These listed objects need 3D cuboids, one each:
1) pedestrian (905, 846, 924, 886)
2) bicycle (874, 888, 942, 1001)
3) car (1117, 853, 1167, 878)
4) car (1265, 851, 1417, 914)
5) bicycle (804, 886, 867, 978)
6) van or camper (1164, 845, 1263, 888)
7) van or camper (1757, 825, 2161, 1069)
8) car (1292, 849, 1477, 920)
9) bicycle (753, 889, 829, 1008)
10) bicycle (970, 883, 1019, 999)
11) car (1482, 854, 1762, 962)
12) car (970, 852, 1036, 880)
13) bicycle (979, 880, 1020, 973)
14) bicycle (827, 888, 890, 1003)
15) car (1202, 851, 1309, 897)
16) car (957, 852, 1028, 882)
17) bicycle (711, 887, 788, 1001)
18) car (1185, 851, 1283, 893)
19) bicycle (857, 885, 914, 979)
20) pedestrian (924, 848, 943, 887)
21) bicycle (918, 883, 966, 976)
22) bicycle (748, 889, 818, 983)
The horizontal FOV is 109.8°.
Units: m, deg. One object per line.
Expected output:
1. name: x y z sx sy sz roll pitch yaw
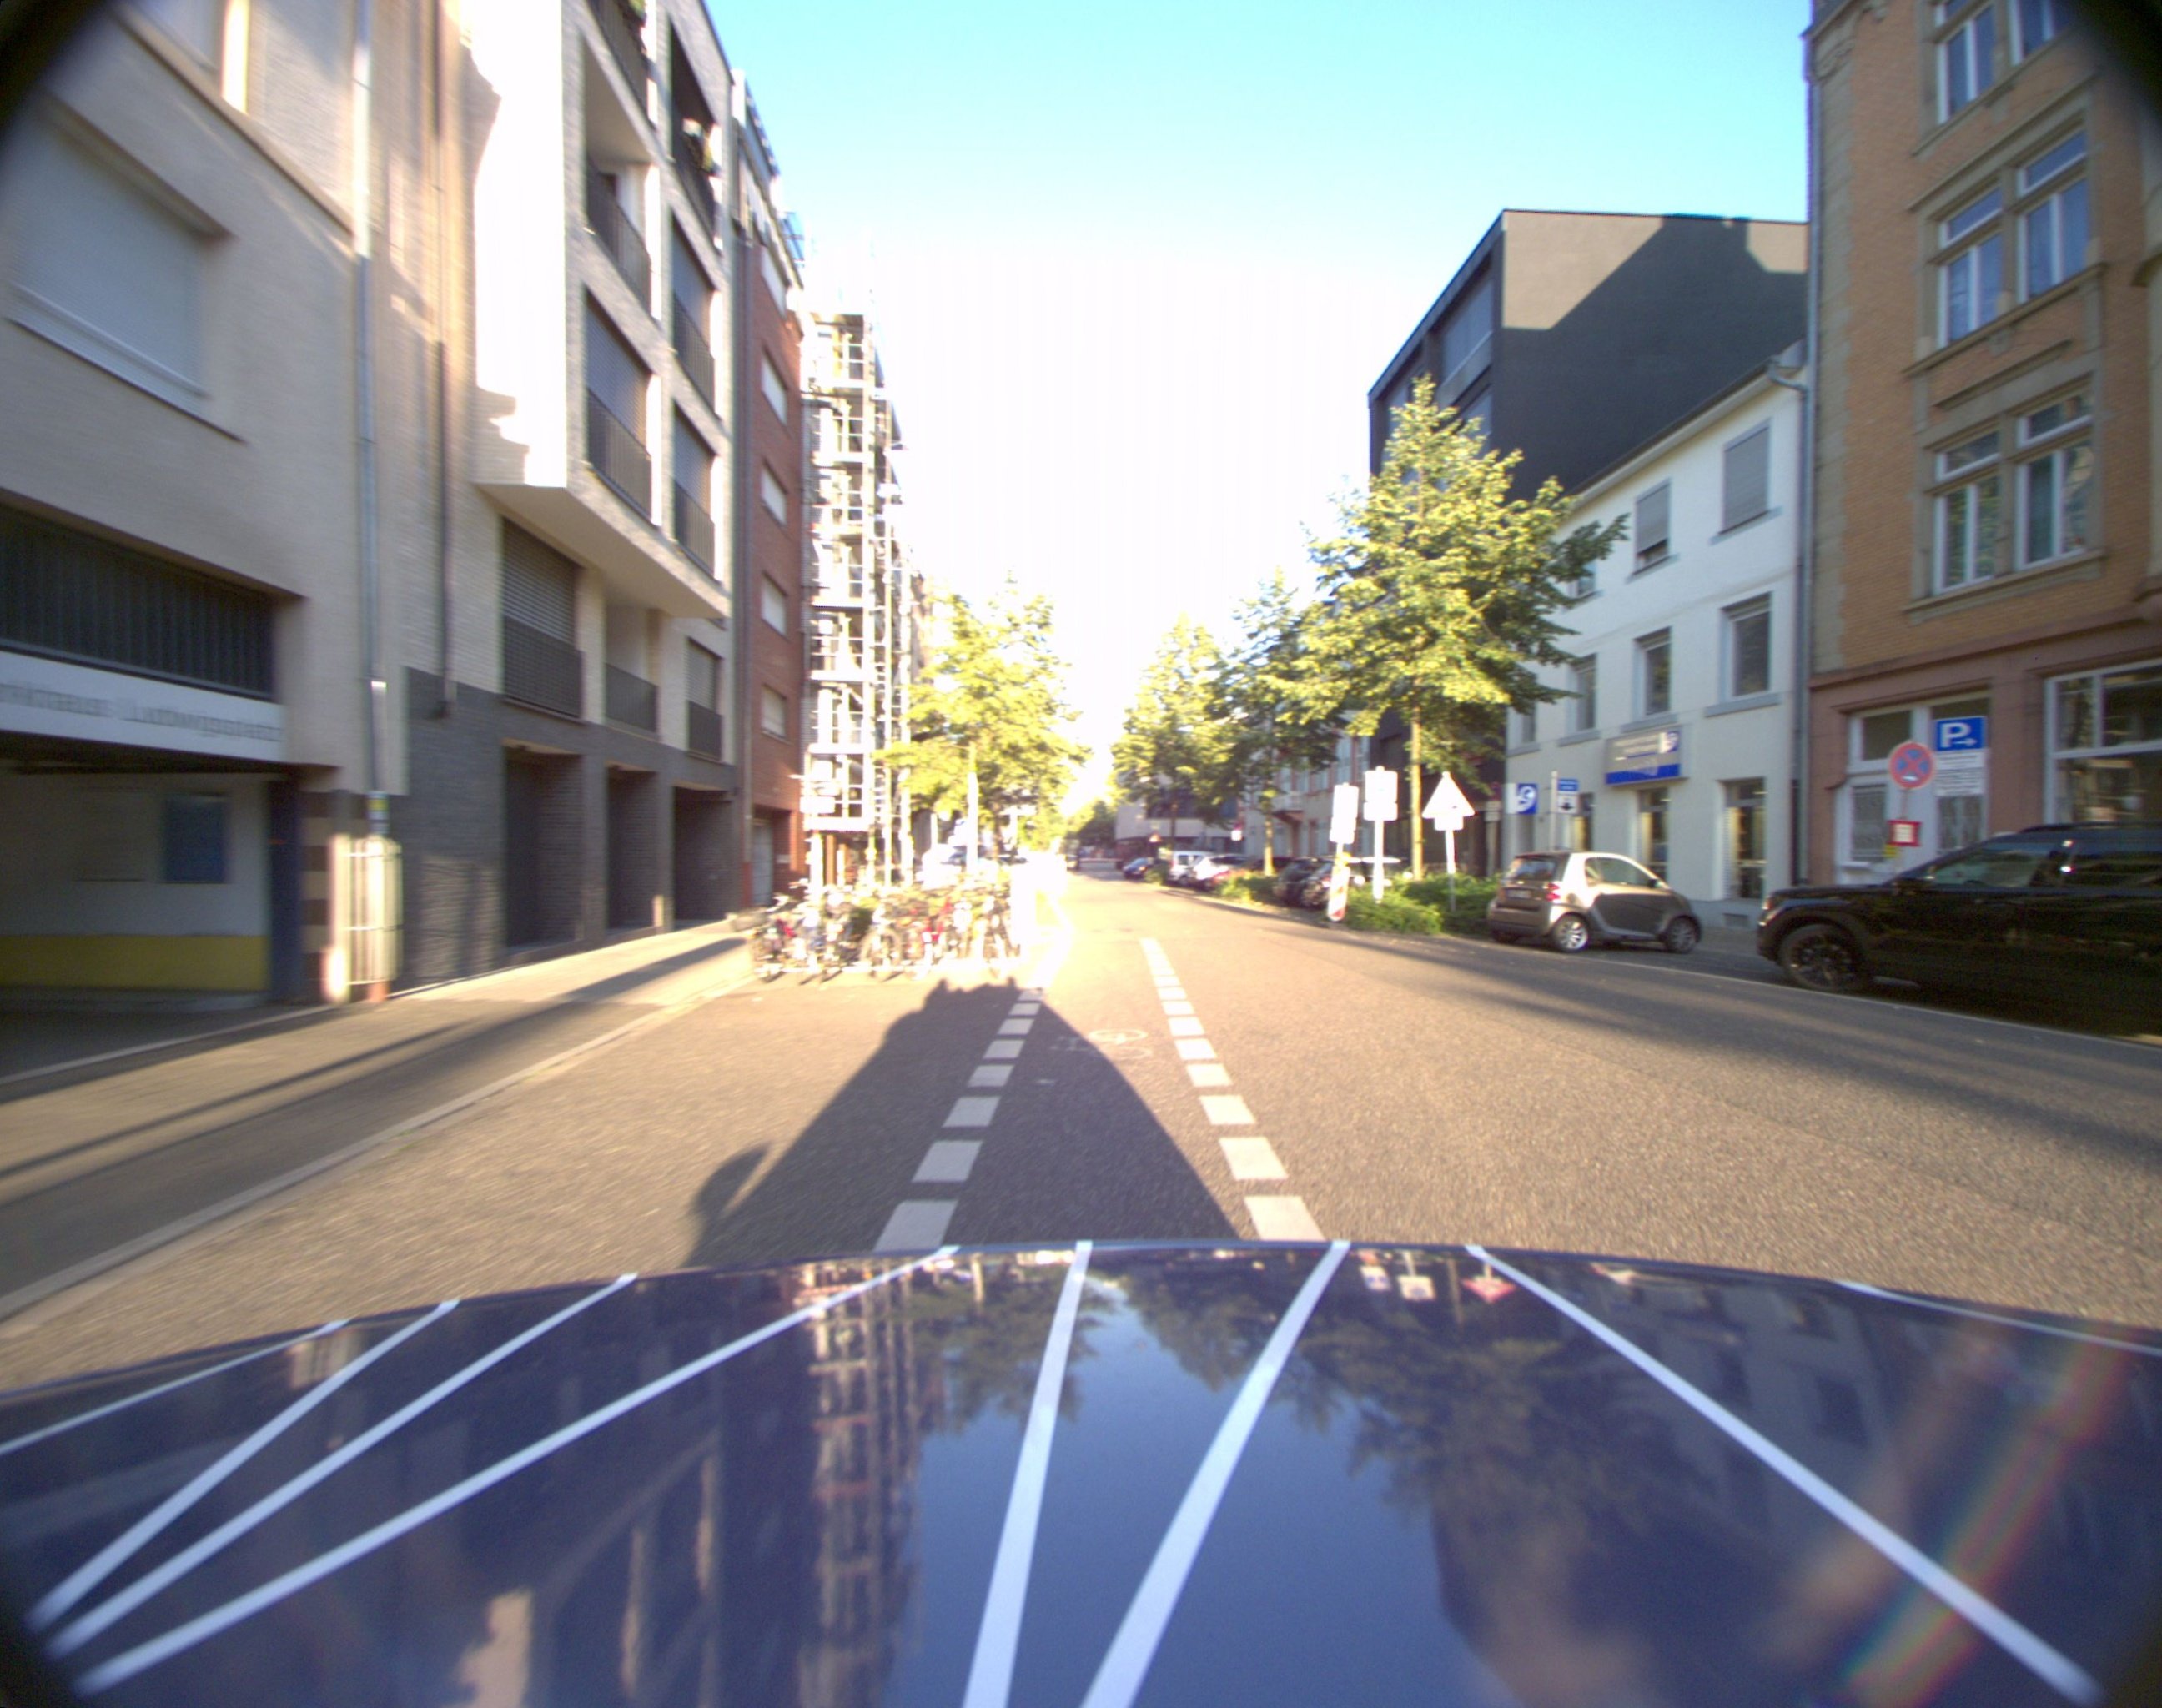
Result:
1. pedestrian: -7.564 0.532 34.556 0.743 1.773 0.656 0 1 -4
2. bicycle: -2.016 1.014 9.016 0.418 1.150 1.552 0 0 1
3. car: 4.073 0.737 50.358 1.853 1.559 3.705 2 0 29
4. car: 7.467 0.784 22.029 3.696 1.660 1.857 2 0 -6
5. bicycle: -3.414 1.049 10.673 0.468 1.137 1.551 0 0 -4
6. van or camper: 6.548 0.597 37.878 4.454 1.994 1.857 2 0 -6
7. van or camper: 8.799 0.694 6.358 1.896 1.797 4.456 1 0 -9
8. car: 7.779 0.771 19.703 4.008 1.660 1.857 2 0 -6
9. bicycle: -3.343 1.043 8.868 0.387 1.182 1.551 0 0 -4
10. bicycle: -1.011 0.982 9.105 0.498 1.213 1.551 0 0 -4
11. car: 8.456 0.795 12.029 3.480 1.566 1.506 0 1 -7
12. car: -4.834 0.759 47.487 3.998 1.674 1.890 1 1 -2
13. bicycle: -1.143 0.992 10.873 0.509 1.172 1.551 0 0 -4
14. bicycle: -2.578 1.014 8.910 0.382 1.153 1.551 0 0 -4
15. car: 6.864 0.765 30.152 3.696 1.660 1.857 2 0 -6
16. car: -5.174 0.748 44.779 3.998 1.674 1.890 1 1 -2
17. bicycle: -3.897 1.018 9.022 0.388 1.176 1.405 0 1 -4
18. car: 6.557 0.760 32.741 3.696 1.660 1.857 2 0 -6
19. bicycle: -2.707 1.037 10.611 0.488 1.143 1.551 0 0 -4
20. pedestrian: -6.744 0.600 34.762 0.743 1.773 0.656 0 1 -6
21. bicycle: -1.950 1.027 10.804 0.488 1.156 1.551 0 0 -4
22. bicycle: -4.112 1.092 10.570 0.458 1.125 1.551 0 0 -4
